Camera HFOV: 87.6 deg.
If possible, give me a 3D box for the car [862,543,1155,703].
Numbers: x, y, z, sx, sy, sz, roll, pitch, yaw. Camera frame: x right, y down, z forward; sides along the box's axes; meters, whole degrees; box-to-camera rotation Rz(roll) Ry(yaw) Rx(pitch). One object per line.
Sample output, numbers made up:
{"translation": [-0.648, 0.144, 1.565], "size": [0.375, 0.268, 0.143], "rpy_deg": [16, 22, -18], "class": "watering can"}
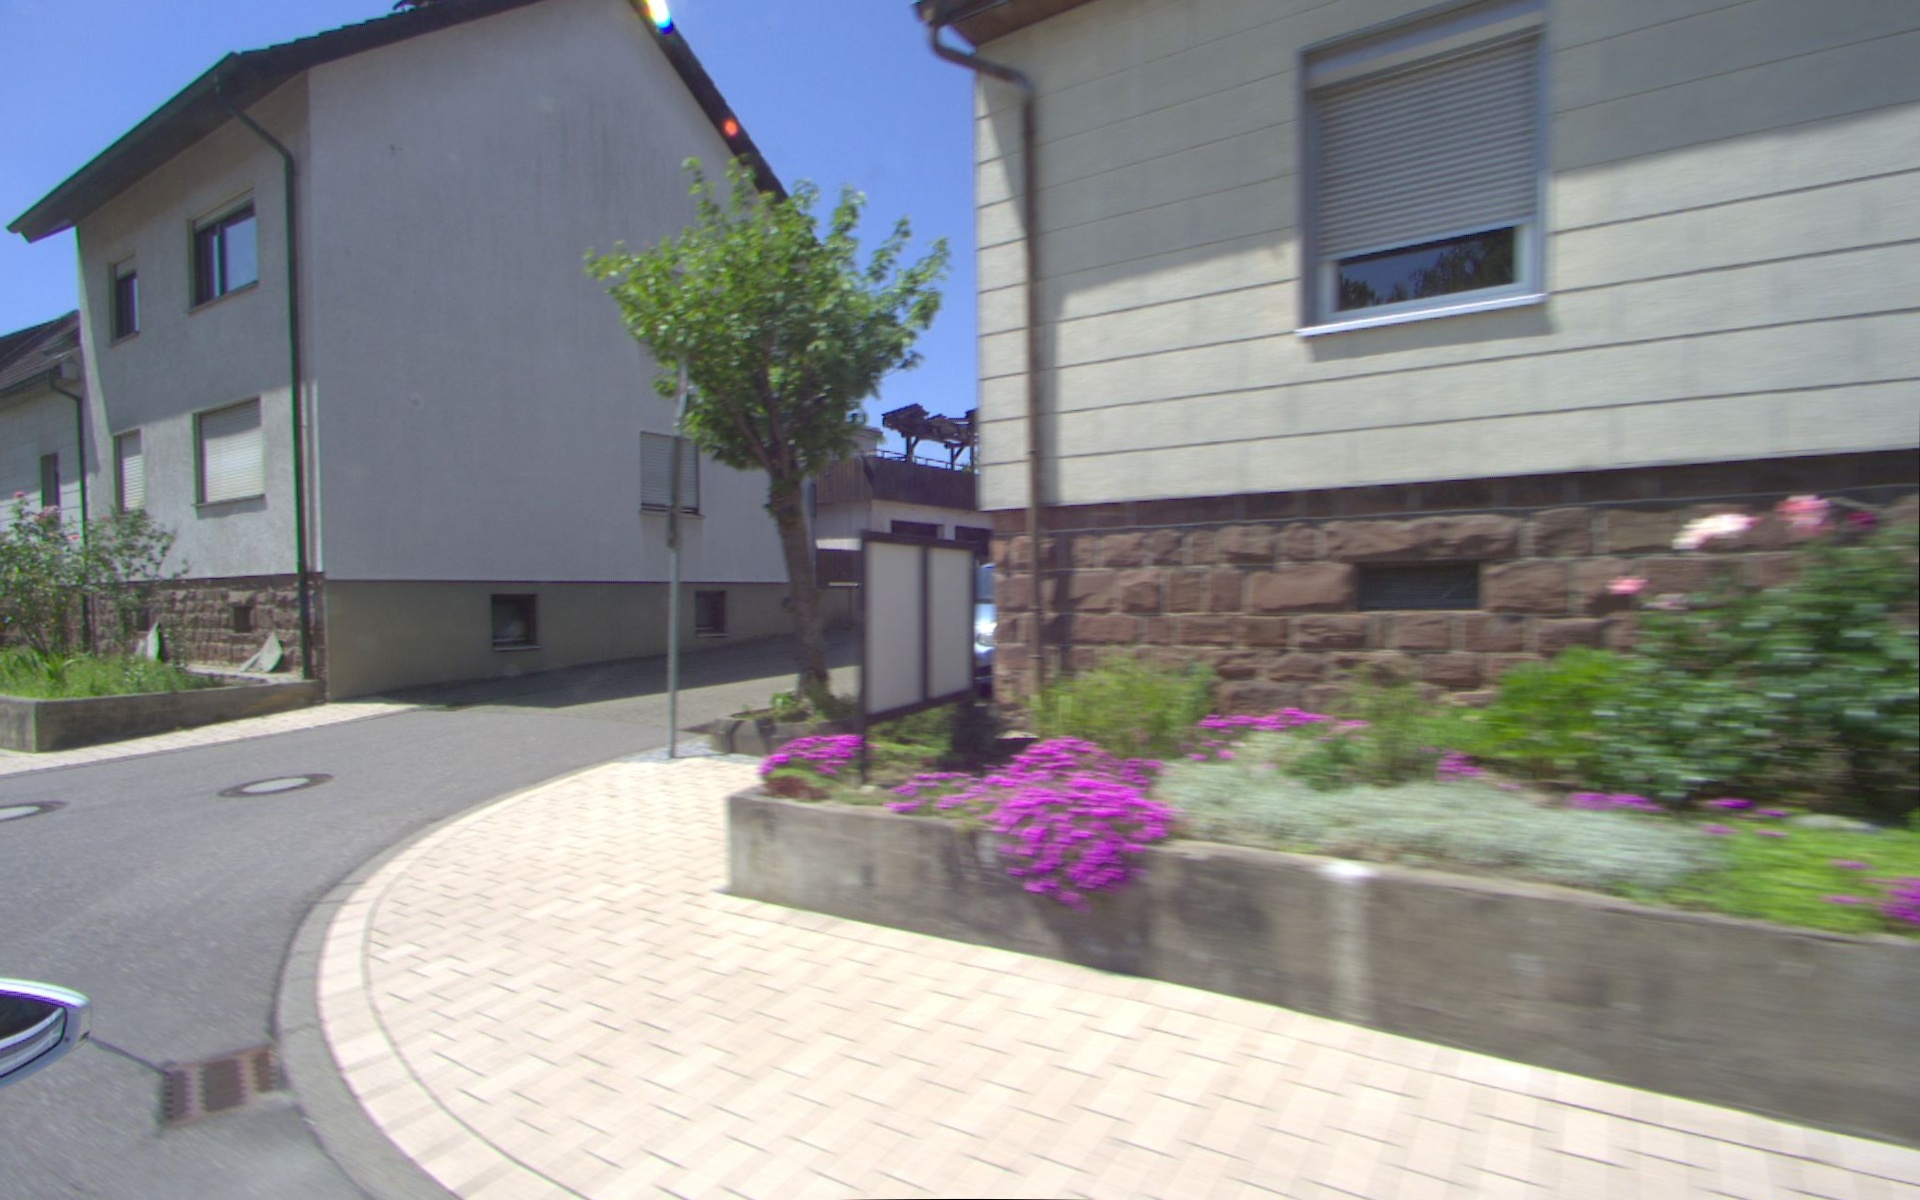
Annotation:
{"translation": [0.709, 0.174, 11.801], "size": [1.776, 1.513, 3.500], "rpy_deg": [-2, 3, 36], "class": "car"}
